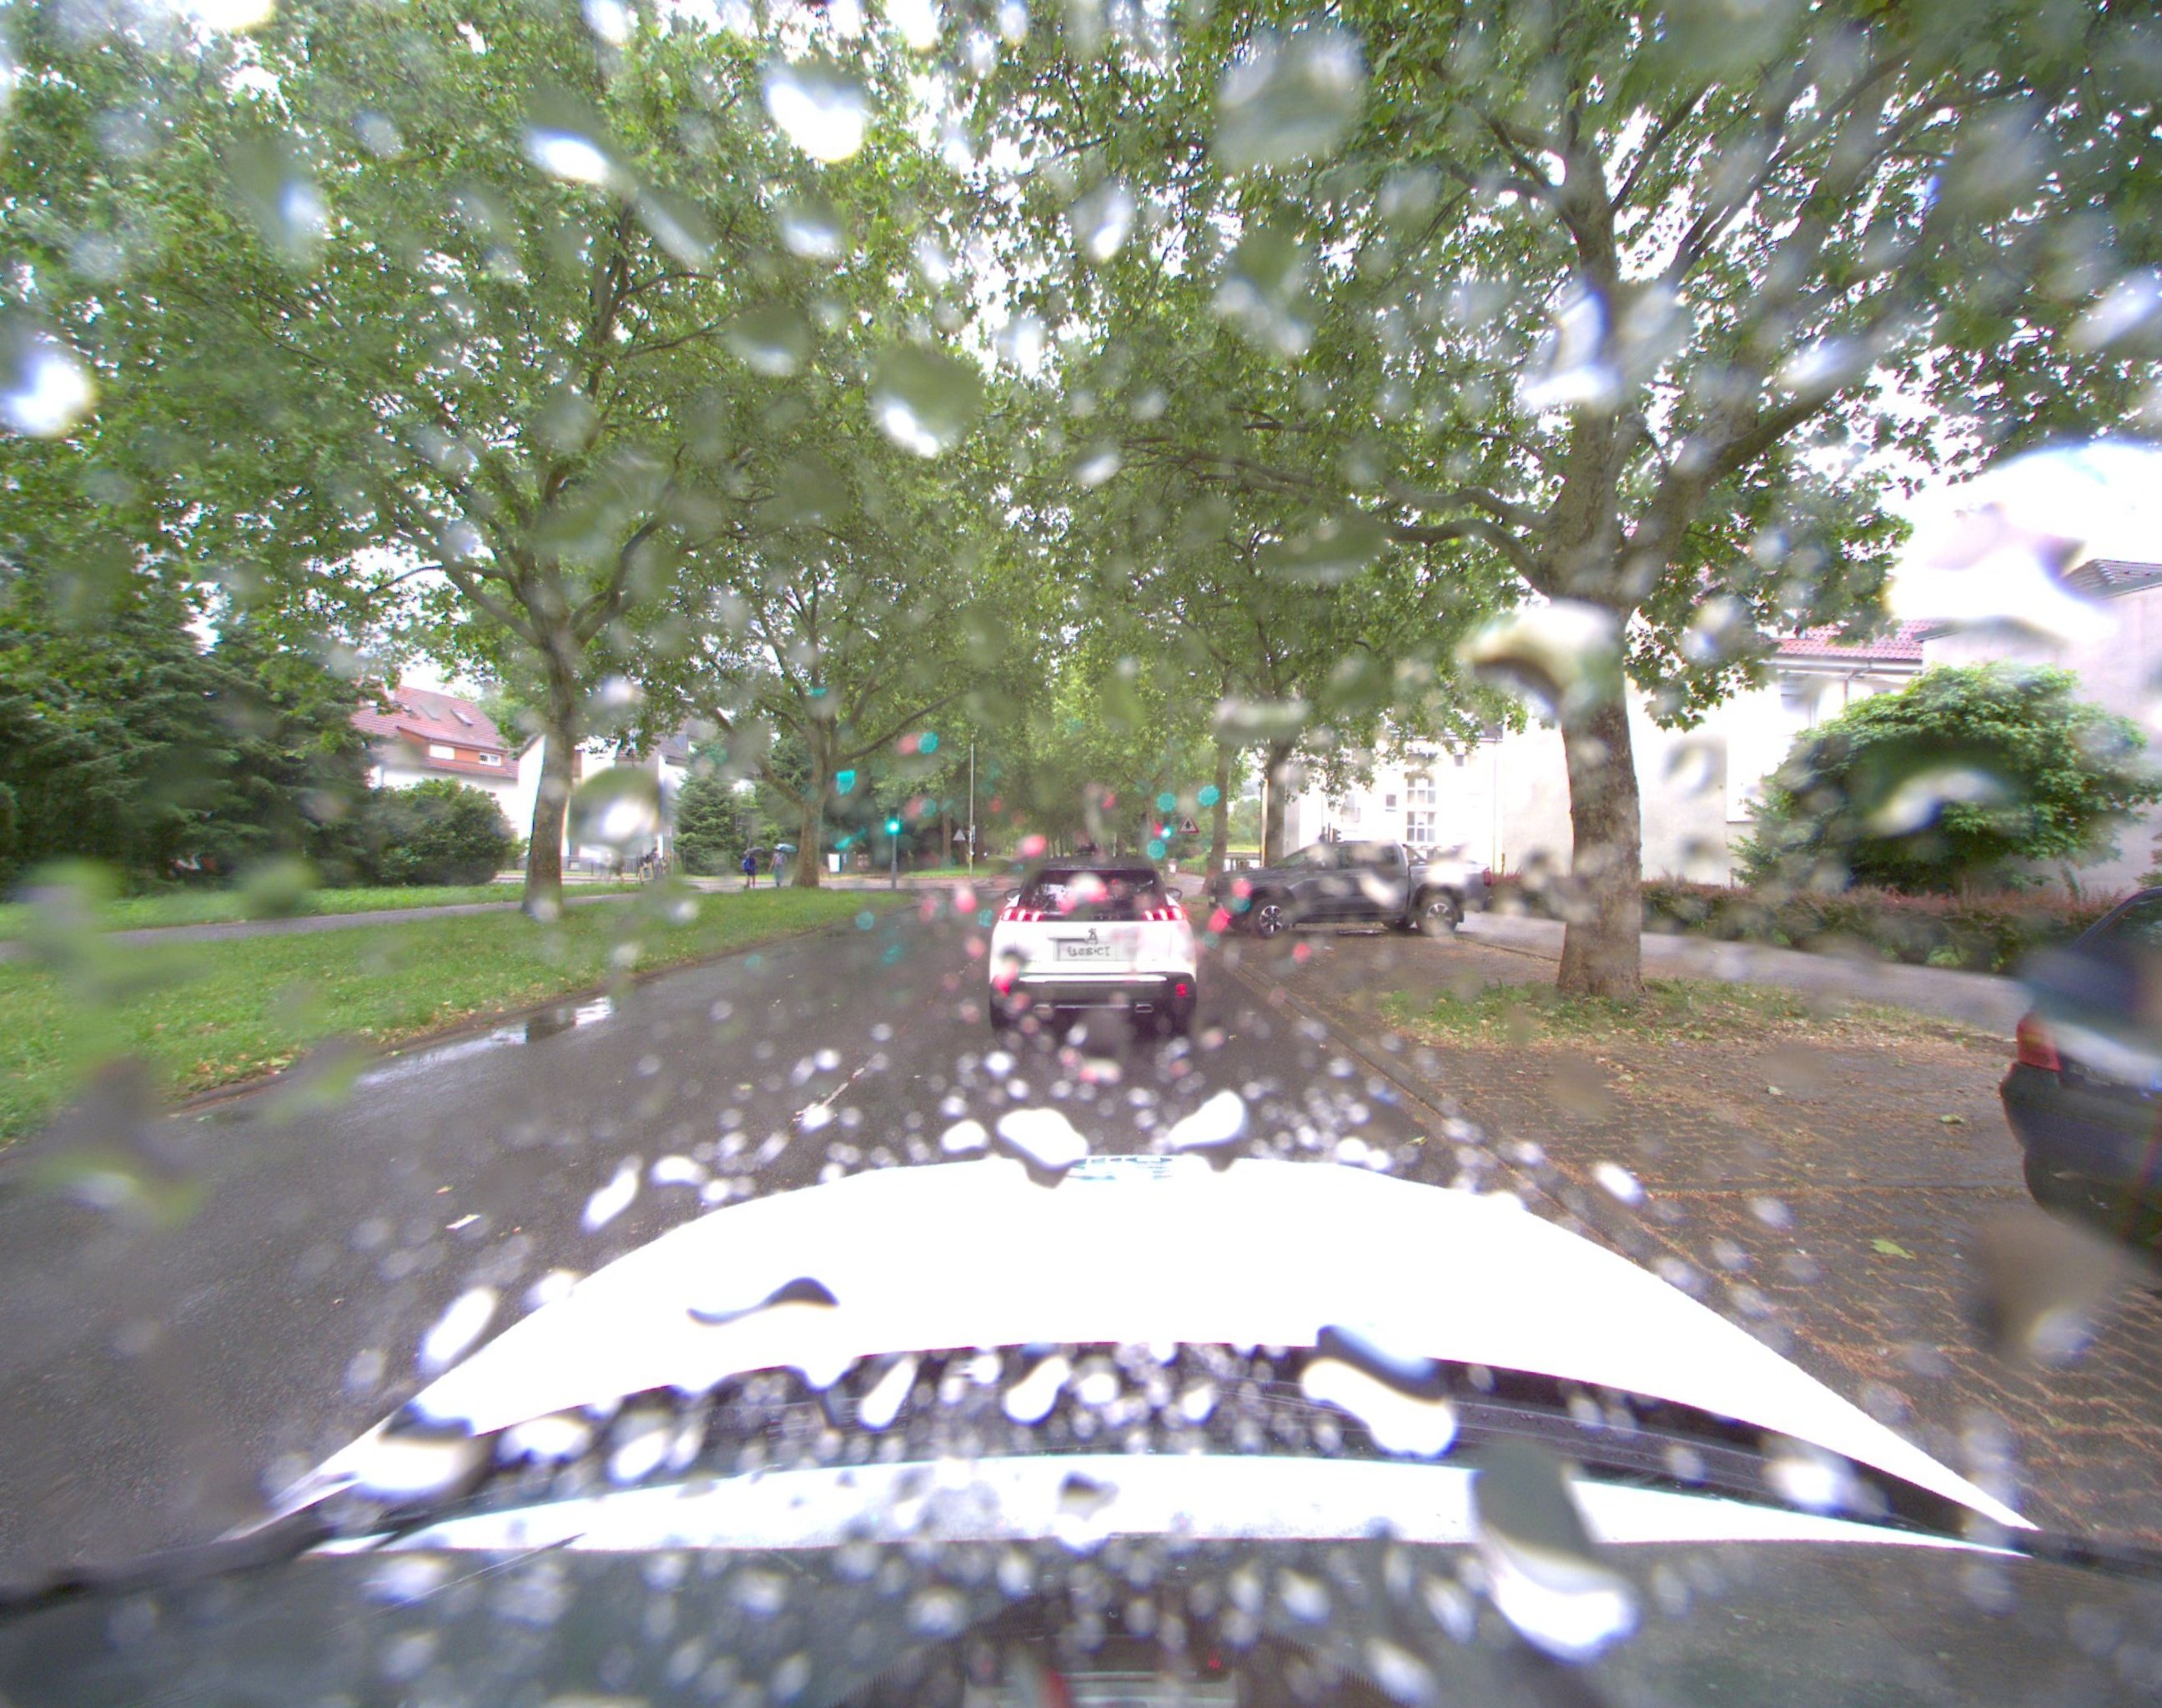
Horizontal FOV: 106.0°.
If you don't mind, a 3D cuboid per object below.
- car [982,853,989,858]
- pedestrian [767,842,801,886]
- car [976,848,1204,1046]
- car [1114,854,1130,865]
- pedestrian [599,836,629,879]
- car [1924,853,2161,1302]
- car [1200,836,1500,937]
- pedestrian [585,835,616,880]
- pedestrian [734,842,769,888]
[{"bbox_3d":[-29.839,0.400,254.913,1.869,1.677,3.705,1,0,-2],"label":"car"},{"bbox_3d":[-11.851,0.389,32.547,1.029,1.765,0.838,0,0,1],"label":"pedestrian"},{"bbox_3d":[0.120,0.715,8.360,1.774,1.536,4.059,0,0,1],"label":"car"},{"bbox_3d":[5.600,0.720,111.682,1.901,1.510,3.928,1,0,-2],"label":"car"},{"bbox_3d":[-19.058,0.150,33.237,0.856,1.744,0.639,1,0,-2],"label":"pedestrian"},{"bbox_3d":[5.196,0.735,2.615,3.344,1.464,1.618,0,0,0],"label":"car"},{"bbox_3d":[5.153,0.587,15.981,5.330,1.807,1.842,0,0,-6],"label":"car"},{"bbox_3d":[-19.060,0.141,32.284,0.818,1.744,0.639,1,0,-2],"label":"pedestrian"},{"bbox_3d":[-13.066,0.431,32.324,1.029,1.765,0.879,0,0,1],"label":"pedestrian"}]
